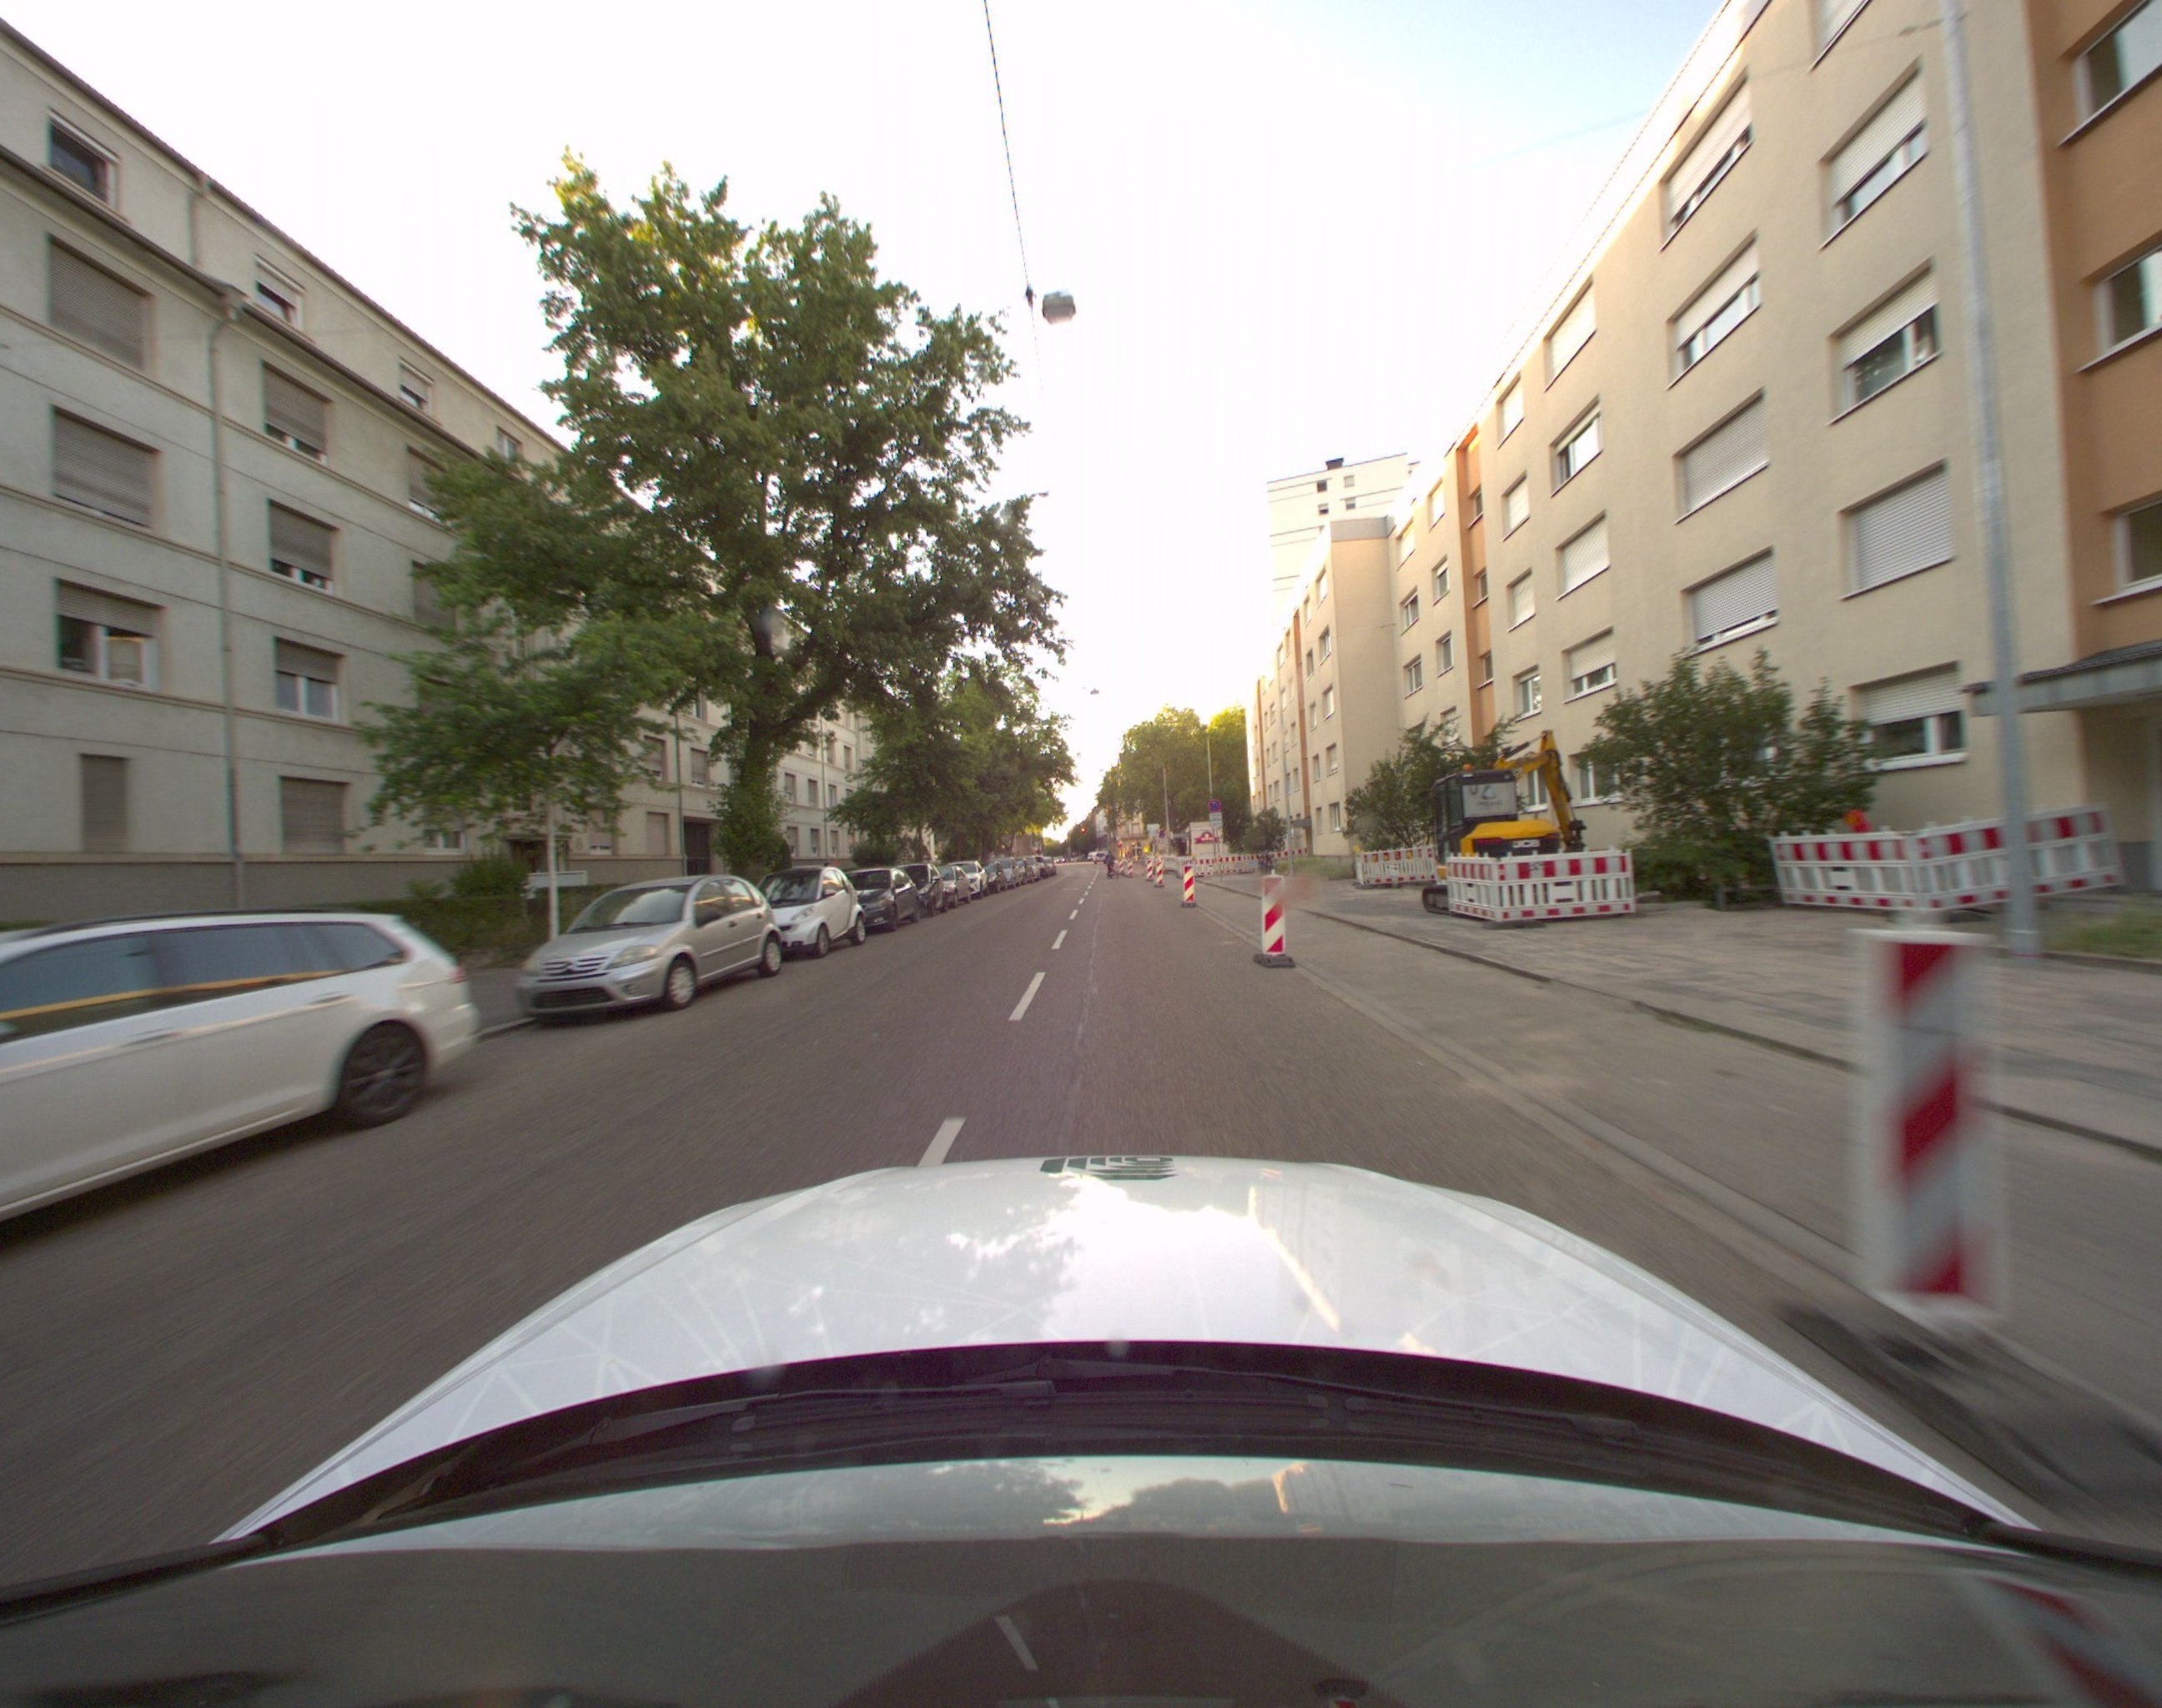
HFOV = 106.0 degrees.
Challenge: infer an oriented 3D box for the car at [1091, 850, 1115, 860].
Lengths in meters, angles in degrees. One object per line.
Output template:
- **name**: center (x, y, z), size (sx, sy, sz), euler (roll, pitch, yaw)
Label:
- **car**: center (5.292, 0.242, 193.595), size (5.855, 2.288, 2.047), euler (-3, 0, -42)

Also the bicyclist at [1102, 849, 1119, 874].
- **bicyclist**: center (1.961, 0.496, 54.134), size (0.936, 1.581, 1.146), euler (-5, -1, -1)

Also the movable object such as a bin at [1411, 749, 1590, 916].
- **movable object such as a bin**: center (7.565, -0.347, 15.027), size (1.923, 2.693, 2.896), euler (-3, 0, 6)

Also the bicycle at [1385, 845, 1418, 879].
- **bicycle**: center (11.616, 0.298, 29.548), size (0.553, 1.172, 1.819), euler (-3, 0, 4)

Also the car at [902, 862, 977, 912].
- **car**: center (-4.774, 1.083, 28.024), size (1.584, 1.404, 4.183), euler (-6, 0, 2)

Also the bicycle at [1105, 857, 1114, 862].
- **bicycle**: center (6.592, 1.320, 187.320), size (1.909, 0.968, 0.545), euler (-3, 0, -1)

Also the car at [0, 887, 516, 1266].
- **car**: center (-5.336, 1.061, 4.057), size (1.686, 1.459, 4.484), euler (-6, 0, 1)

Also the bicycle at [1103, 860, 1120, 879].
- **bicycle**: center (2.010, 1.008, 54.099), size (0.936, 1.172, 2.358), euler (-5, -1, 0)

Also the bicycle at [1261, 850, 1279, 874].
- **bicycle**: center (9.684, 0.410, 41.766), size (0.396, 1.222, 1.826), euler (-3, 0, 0)

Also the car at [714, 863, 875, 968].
- **car**: center (-5.038, 1.028, 14.733), size (1.583, 1.529, 2.924), euler (-6, 0, 4)

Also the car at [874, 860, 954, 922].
- **car**: center (-4.818, 1.026, 23.855), size (1.518, 1.529, 3.164), euler (-6, 0, 0)

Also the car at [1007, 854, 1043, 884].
- **car**: center (-3.527, 0.937, 52.299), size (1.841, 1.690, 4.858), euler (-5, 0, 0)

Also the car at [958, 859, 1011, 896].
- **car**: center (-4.376, 1.040, 37.596), size (1.701, 1.452, 3.845), euler (-6, 0, 2)

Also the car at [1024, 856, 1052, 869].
- **car**: center (-6.149, 1.176, 117.390), size (3.978, 1.585, 1.870), euler (-4, -1, -3)

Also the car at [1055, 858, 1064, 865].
- **car**: center (-5.211, 1.868, 198.274), size (1.779, 1.651, 3.813), euler (-1, -1, -6)

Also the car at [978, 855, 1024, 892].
- **car**: center (-4.069, 0.967, 42.038), size (1.701, 1.600, 4.118), euler (-6, 0, 2)

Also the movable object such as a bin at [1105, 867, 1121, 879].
- **movable object such as a bin**: center (2.032, 1.215, 52.415), size (0.936, 0.689, 0.993), euler (-5, -1, -1)

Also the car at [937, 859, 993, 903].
- **car**: center (-4.656, 1.046, 33.232), size (1.585, 1.538, 4.205), euler (-6, 0, -1)

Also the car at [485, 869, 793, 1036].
- **car**: center (-5.209, 1.042, 10.258), size (1.584, 1.505, 3.800), euler (-6, 0, 1)

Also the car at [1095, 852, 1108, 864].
- **car**: center (3.244, 0.631, 131.259), size (1.860, 1.815, 4.000), euler (-4, 0, 0)

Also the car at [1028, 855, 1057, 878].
- **car**: center (-3.127, 1.003, 67.393), size (1.947, 1.616, 4.606), euler (-5, 0, 1)

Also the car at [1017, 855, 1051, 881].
- **car**: center (-3.395, 0.991, 59.555), size (1.947, 1.719, 4.772), euler (-5, 0, 1)

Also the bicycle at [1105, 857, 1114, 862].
- **bicycle**: center (6.551, 1.204, 187.042), size (1.909, 0.968, 0.545), euler (-3, 0, -1)

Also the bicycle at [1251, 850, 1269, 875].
- **bicycle**: center (9.160, 0.424, 41.753), size (0.450, 1.222, 1.911), euler (-3, 0, 0)

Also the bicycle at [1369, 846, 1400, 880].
- **bicycle**: center (11.020, 0.314, 29.610), size (0.553, 1.172, 1.819), euler (-3, 0, 4)

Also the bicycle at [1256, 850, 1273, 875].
- **bicycle**: center (9.436, 0.418, 41.838), size (0.396, 1.222, 1.911), euler (-3, 0, 0)

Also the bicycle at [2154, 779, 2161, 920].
- **bicycle**: center (9.514, -0.026, 6.412), size (1.590, 1.222, 0.484), euler (-3, -1, -5)

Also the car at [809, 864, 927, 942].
- **car**: center (-4.925, 1.067, 19.400), size (1.585, 1.466, 4.101), euler (-6, 0, 0)

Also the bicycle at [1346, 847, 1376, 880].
- **bicycle**: center (10.310, 0.336, 30.023), size (0.553, 1.172, 1.819), euler (-3, 0, 4)

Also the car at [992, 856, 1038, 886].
- **car**: center (-3.754, 0.949, 46.839), size (1.724, 1.497, 4.277), euler (-5, 0, 6)
